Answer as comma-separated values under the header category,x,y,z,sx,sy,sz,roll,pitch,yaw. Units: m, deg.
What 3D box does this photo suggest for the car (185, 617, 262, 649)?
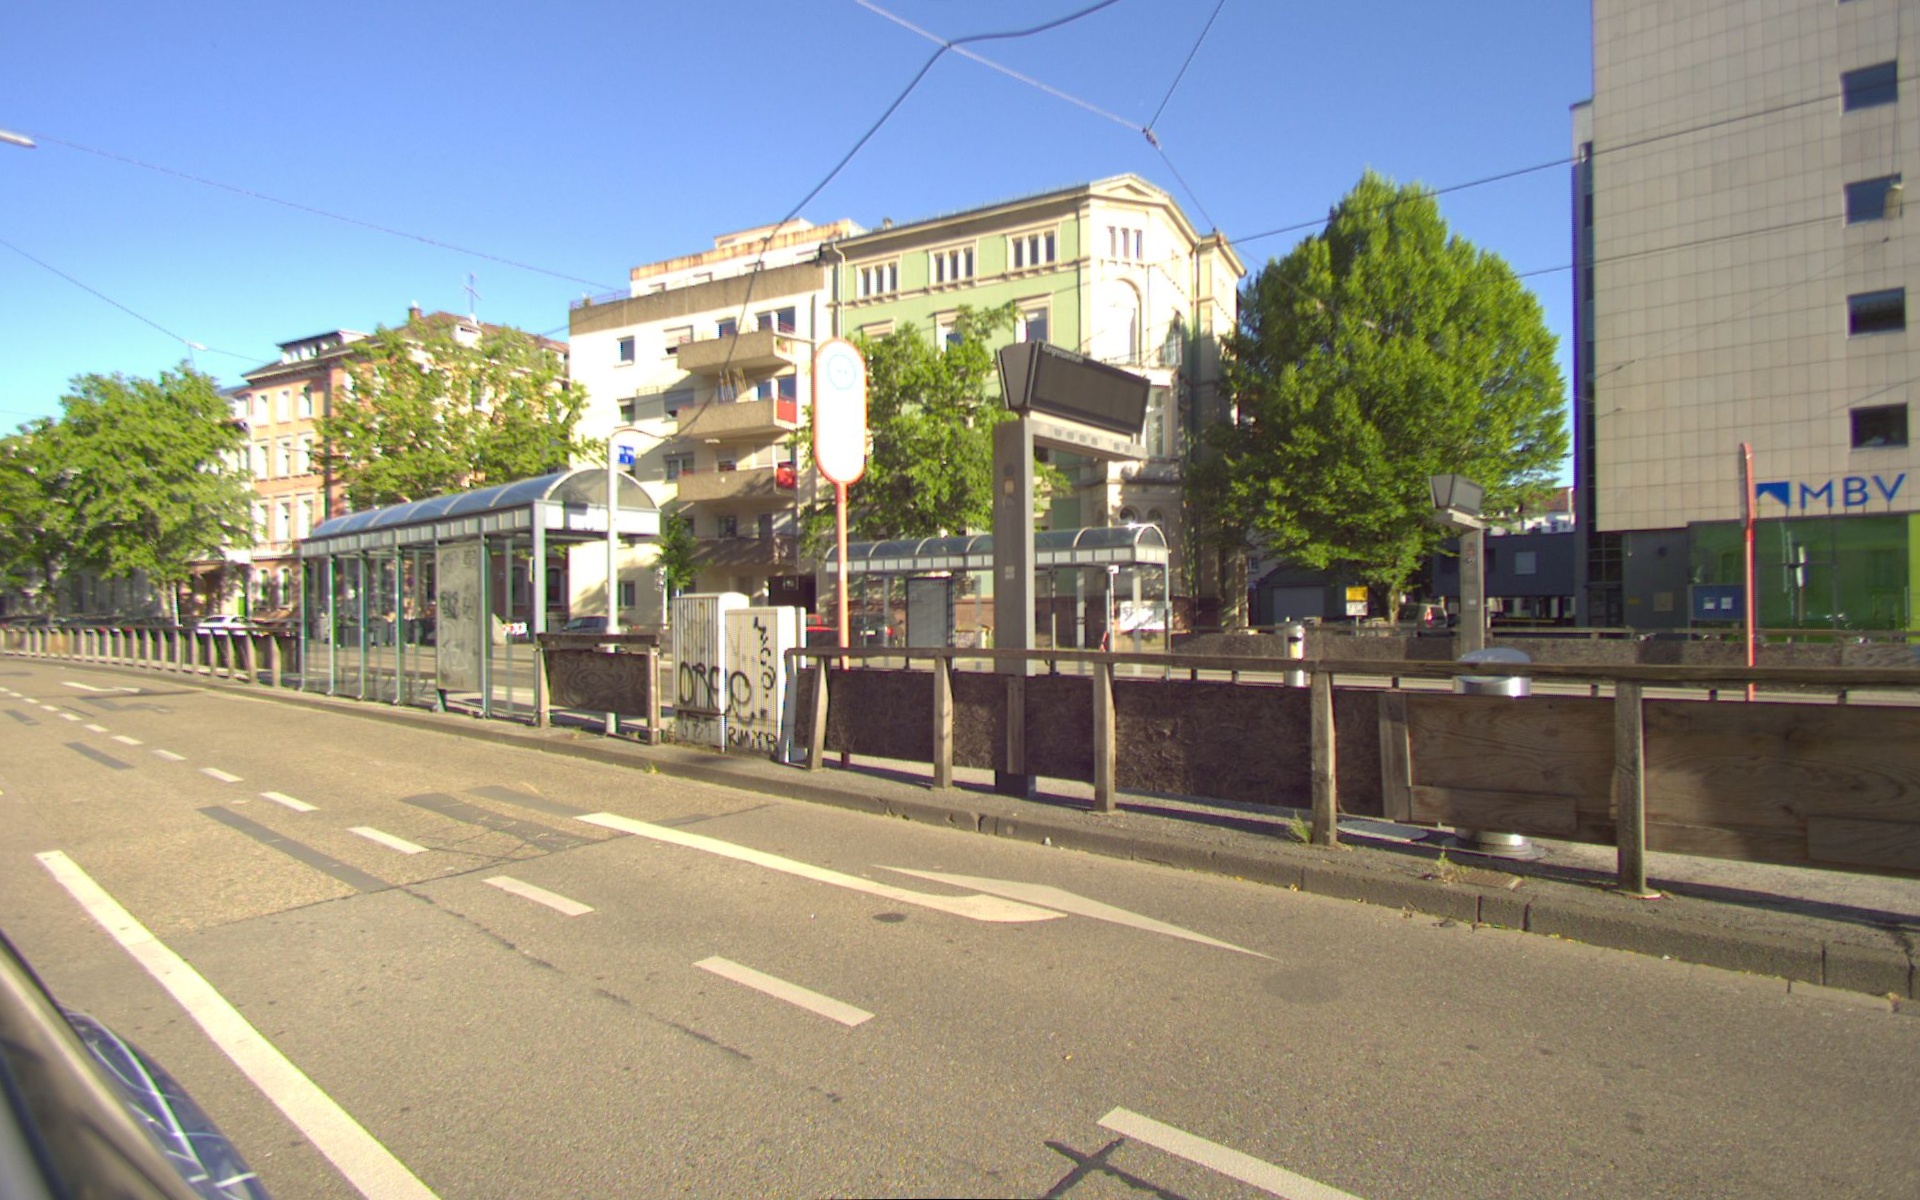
category,x,y,z,sx,sy,sz,roll,pitch,yaw
car,-39.404,1.734,54.221,1.607,1.579,3.601,-1,0,-2

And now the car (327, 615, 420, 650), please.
category,x,y,z,sx,sy,sz,roll,pitch,yaw
car,-28.405,1.555,49.062,1.626,1.579,3.560,-1,0,33

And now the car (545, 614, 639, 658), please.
category,x,y,z,sx,sy,sz,roll,pitch,yaw
car,-14.040,1.330,38.524,3.592,1.579,1.612,-1,0,35

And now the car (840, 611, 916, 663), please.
category,x,y,z,sx,sy,sz,roll,pitch,yaw
car,-2.655,1.183,33.375,1.614,1.579,3.588,-1,0,11

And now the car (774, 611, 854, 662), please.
category,x,y,z,sx,sy,sz,roll,pitch,yaw
car,-4.928,1.212,34.572,1.614,1.579,3.588,-1,0,11
